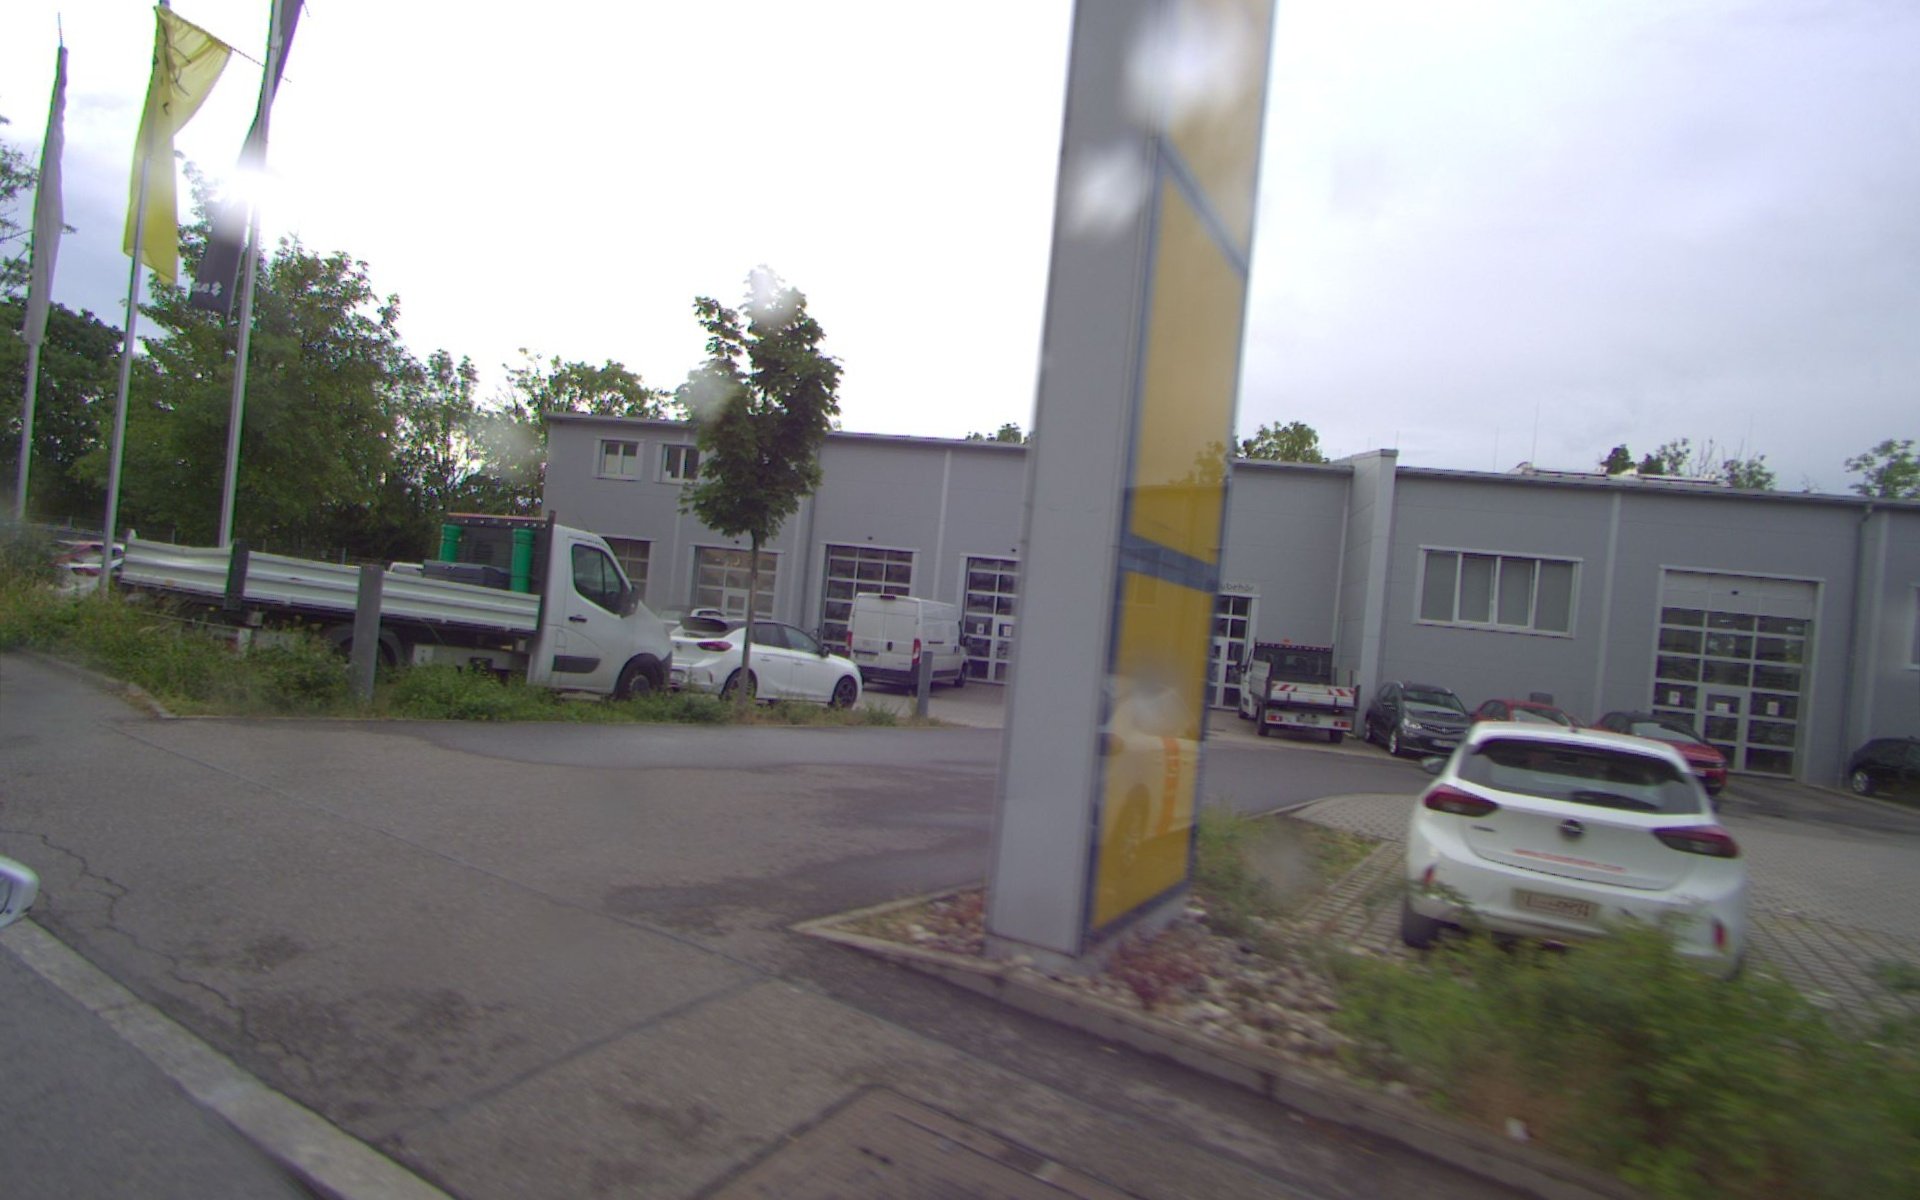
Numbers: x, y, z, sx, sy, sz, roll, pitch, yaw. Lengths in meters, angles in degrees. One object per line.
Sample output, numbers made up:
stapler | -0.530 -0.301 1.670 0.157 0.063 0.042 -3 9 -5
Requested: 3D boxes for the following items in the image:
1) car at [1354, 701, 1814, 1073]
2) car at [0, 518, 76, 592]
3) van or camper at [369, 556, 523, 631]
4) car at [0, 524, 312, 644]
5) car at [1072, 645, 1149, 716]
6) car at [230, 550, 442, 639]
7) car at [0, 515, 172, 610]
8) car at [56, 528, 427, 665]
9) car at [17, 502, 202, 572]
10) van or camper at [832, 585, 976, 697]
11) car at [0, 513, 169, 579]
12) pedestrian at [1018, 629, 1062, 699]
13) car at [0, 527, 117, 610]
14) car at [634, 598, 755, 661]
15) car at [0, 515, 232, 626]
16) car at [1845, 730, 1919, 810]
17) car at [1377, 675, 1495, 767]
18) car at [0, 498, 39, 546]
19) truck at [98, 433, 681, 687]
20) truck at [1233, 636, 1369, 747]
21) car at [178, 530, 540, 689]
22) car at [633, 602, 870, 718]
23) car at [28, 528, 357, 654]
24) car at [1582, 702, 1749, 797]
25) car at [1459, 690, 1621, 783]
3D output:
car | 4.148 1.560 6.874 1.864 1.445 3.993 7 -1 32
car | -22.787 -1.201 22.561 1.772 1.539 3.998 7 -2 27
van or camper | -17.438 -0.256 34.032 5.524 1.809 1.997 7 -1 33
car | -14.068 -0.207 17.726 1.731 1.525 3.994 7 -1 31
car | 4.130 2.147 27.669 1.790 1.570 3.906 7 -1 9
car | -14.084 -0.068 22.895 1.532 1.537 3.696 7 -2 32
car | -18.512 -0.829 20.012 1.773 1.539 3.994 7 -2 31
car | -10.237 0.031 14.653 1.884 1.471 3.870 7 -2 28
car | -26.788 -1.936 31.826 1.772 1.539 3.998 7 -2 27
van or camper | -1.387 1.063 27.817 2.244 2.521 5.285 8 1 14
car | -28.973 -1.749 33.239 1.772 1.539 3.998 7 -2 27
pedestrian | 2.350 1.856 29.355 1.002 1.904 0.696 7 0 8
car | -20.782 -0.797 21.348 1.773 1.539 3.994 7 -2 31
car | -8.141 0.877 31.238 1.806 1.622 4.000 7 1 13
car | -16.405 -0.573 18.753 1.731 1.607 4.136 7 -1 32
car | 21.182 3.785 21.305 1.806 1.441 4.001 6 0 12
car | 10.753 2.666 22.992 1.795 1.651 4.002 6 -1 18
car | -33.861 -2.755 33.733 1.772 1.542 3.990 7 3 27
truck | -6.006 -0.245 11.438 2.305 2.037 5.160 8 -1 29
truck | 8.531 2.179 25.859 2.322 2.264 6.276 3 0 11
car | -7.858 0.229 13.528 1.706 1.690 3.700 7 -1 28
car | -3.278 1.039 16.477 1.532 1.537 3.696 7 -2 32
car | -12.263 -0.076 16.301 1.781 1.511 3.770 7 -2 33
car | 15.449 3.203 22.278 1.795 1.525 4.002 6 -1 18
car | 12.969 2.995 22.799 1.794 1.525 4.004 6 -1 10
